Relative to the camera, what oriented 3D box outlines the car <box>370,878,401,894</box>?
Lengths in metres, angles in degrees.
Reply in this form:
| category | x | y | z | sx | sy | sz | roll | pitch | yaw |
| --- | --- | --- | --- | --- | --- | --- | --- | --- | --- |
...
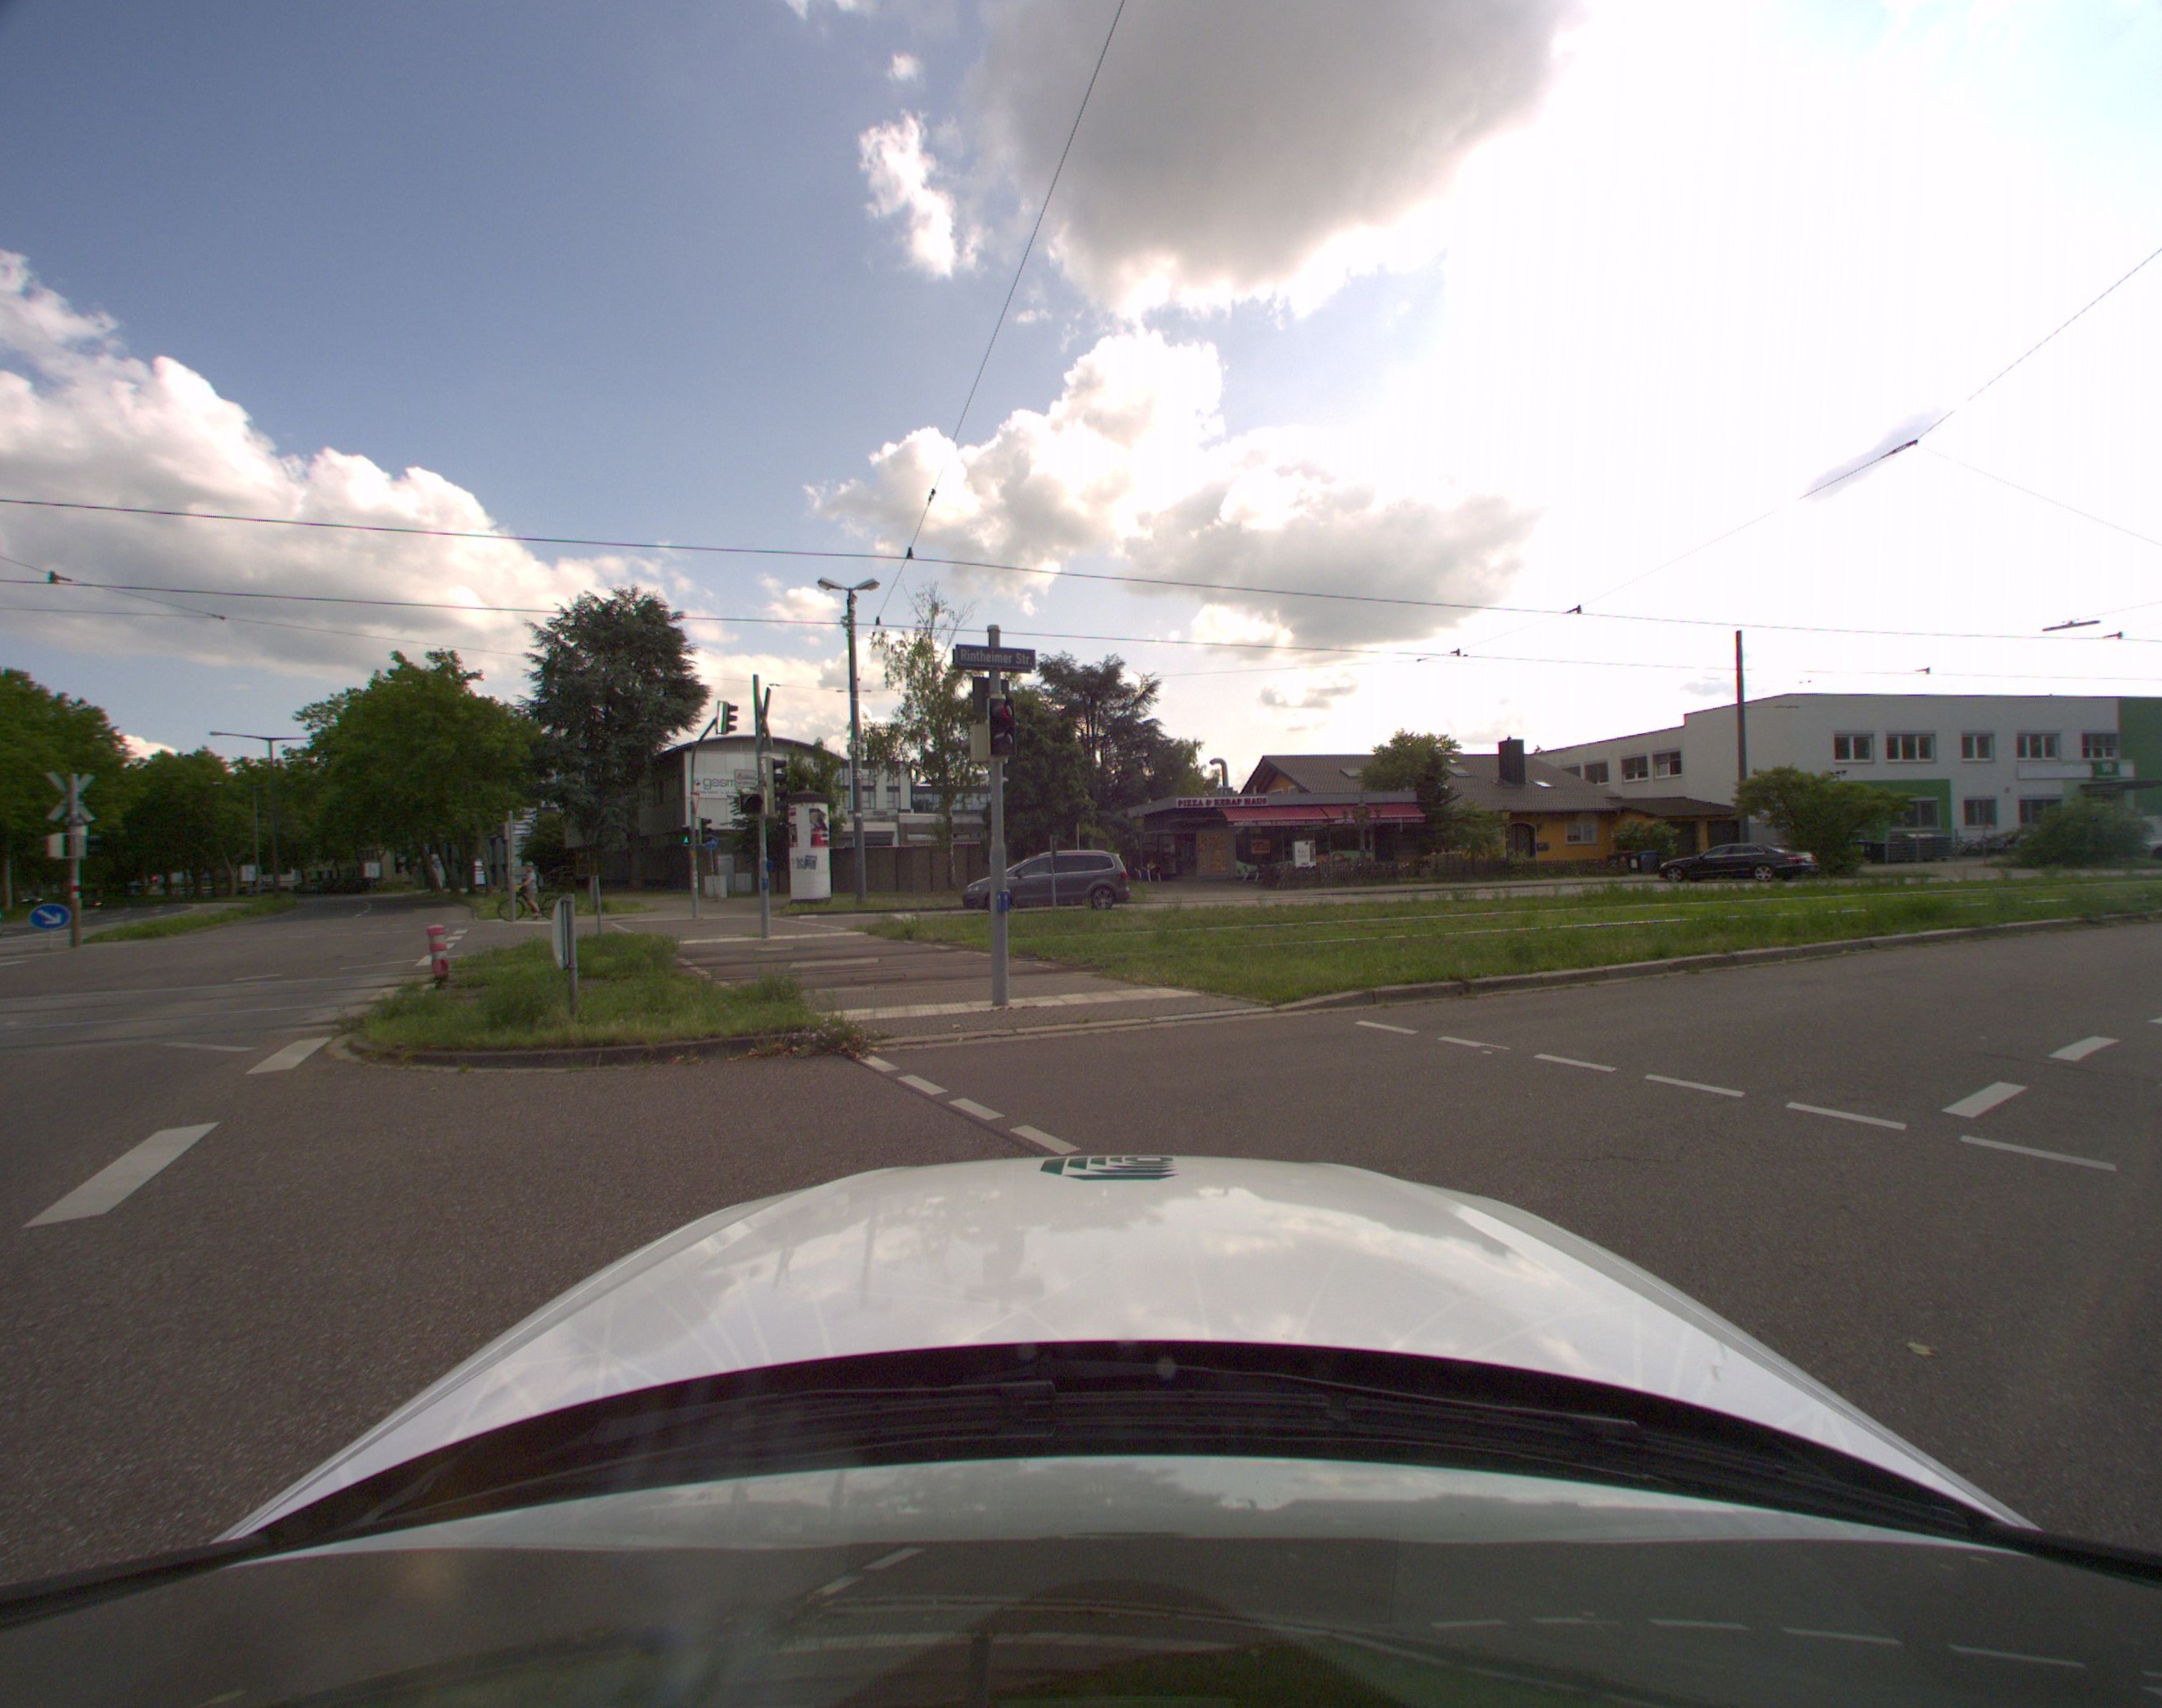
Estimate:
| category | x | y | z | sx | sy | sz | roll | pitch | yaw |
| --- | --- | --- | --- | --- | --- | --- | --- | --- | --- |
| car | -77.698 | 3.558 | 90.964 | 3.949 | 1.574 | 2.013 | 0 | 2 | 41 |

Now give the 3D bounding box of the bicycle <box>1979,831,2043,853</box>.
| category | x | y | z | sx | sy | sz | roll | pitch | yaw |
| --- | --- | --- | --- | --- | --- | --- | --- | --- | --- |
| bicycle | 51.532 | -0.648 | 45.150 | 0.756 | 1.166 | 2.348 | -2 | 0 | -4 |

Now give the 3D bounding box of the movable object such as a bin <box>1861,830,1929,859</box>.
| category | x | y | z | sx | sy | sz | roll | pitch | yaw |
| --- | --- | --- | --- | --- | --- | --- | --- | --- | --- |
| movable object such as a bin | 40.679 | -0.472 | 40.735 | 2.108 | 1.326 | 1.373 | -2 | 0 | -7 |

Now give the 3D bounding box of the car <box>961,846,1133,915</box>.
| category | x | y | z | sx | sy | sz | roll | pitch | yaw |
| --- | --- | --- | --- | --- | --- | --- | --- | --- | --- |
| car | -1.036 | 0.728 | 23.463 | 4.725 | 1.722 | 1.993 | -2 | 0 | -10 |

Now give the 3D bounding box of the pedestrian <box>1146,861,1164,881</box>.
| category | x | y | z | sx | sy | sz | roll | pitch | yaw |
| --- | --- | --- | --- | --- | --- | --- | --- | --- | --- |
| pedestrian | 3.568 | 0.800 | 39.246 | 0.724 | 0.929 | 0.775 | -1 | 1 | -5 |

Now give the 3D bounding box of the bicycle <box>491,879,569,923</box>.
| category | x | y | z | sx | sy | sz | roll | pitch | yaw |
| --- | --- | --- | --- | --- | --- | --- | --- | --- | --- |
| bicycle | -17.223 | 1.458 | 25.514 | 1.957 | 1.235 | 0.536 | -2 | 1 | -29 |

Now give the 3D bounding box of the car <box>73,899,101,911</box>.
| category | x | y | z | sx | sy | sz | roll | pitch | yaw |
| --- | --- | --- | --- | --- | --- | --- | --- | --- | --- |
| car | -104.360 | 5.358 | 85.493 | 3.660 | 1.192 | 1.650 | -2 | 0 | 35 |

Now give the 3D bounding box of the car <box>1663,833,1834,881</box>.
| category | x | y | z | sx | sy | sz | roll | pitch | yaw |
| --- | --- | --- | --- | --- | --- | --- | --- | --- | --- |
| car | 25.085 | 0.158 | 30.776 | 2.006 | 1.580 | 4.535 | -2 | -1 | -30 |

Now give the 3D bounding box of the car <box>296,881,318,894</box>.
| category | x | y | z | sx | sy | sz | roll | pitch | yaw |
| --- | --- | --- | --- | --- | --- | --- | --- | --- | --- |
| car | -113.737 | 4.915 | 119.648 | 3.949 | 1.574 | 2.013 | 0 | 2 | 41 |

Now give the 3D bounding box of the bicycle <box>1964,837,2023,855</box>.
| category | x | y | z | sx | sy | sz | roll | pitch | yaw |
| --- | --- | --- | --- | --- | --- | --- | --- | --- | --- |
| bicycle | 50.606 | -0.438 | 45.210 | 0.727 | 0.970 | 2.155 | -2 | 0 | -6 |

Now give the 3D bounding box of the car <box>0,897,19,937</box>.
| category | x | y | z | sx | sy | sz | roll | pitch | yaw |
| --- | --- | --- | --- | --- | --- | --- | --- | --- | --- |
| car | -38.546 | 2.233 | 27.820 | 1.840 | 1.364 | 4.089 | -2 | 0 | -39 |

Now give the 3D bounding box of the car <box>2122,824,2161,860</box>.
| category | x | y | z | sx | sy | sz | roll | pitch | yaw |
| --- | --- | --- | --- | --- | --- | --- | --- | --- | --- |
| car | 50.528 | -0.598 | 36.681 | 1.913 | 1.629 | 4.262 | -1 | -1 | -43 |

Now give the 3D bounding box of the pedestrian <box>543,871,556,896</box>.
| category | x | y | z | sx | sy | sz | roll | pitch | yaw |
| --- | --- | --- | --- | --- | --- | --- | --- | --- | --- |
| pedestrian | -34.425 | 1.880 | 52.702 | 0.625 | 1.569 | 0.553 | -2 | 2 | -38 |

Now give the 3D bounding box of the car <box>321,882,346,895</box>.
| category | x | y | z | sx | sy | sz | roll | pitch | yaw |
| --- | --- | --- | --- | --- | --- | --- | --- | --- | --- |
| car | -101.203 | 4.662 | 110.263 | 3.949 | 1.574 | 2.013 | 0 | 2 | 41 |

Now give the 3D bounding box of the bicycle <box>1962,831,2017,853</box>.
| category | x | y | z | sx | sy | sz | roll | pitch | yaw |
| --- | --- | --- | --- | --- | --- | --- | --- | --- | --- |
| bicycle | 48.376 | -0.621 | 43.377 | 0.735 | 1.081 | 1.790 | -2 | 0 | -12 |

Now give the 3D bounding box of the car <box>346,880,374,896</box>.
| category | x | y | z | sx | sy | sz | roll | pitch | yaw |
| --- | --- | --- | --- | --- | --- | --- | --- | --- | --- |
| car | -86.940 | 4.080 | 98.173 | 3.949 | 1.574 | 2.013 | 0 | 2 | 41 |

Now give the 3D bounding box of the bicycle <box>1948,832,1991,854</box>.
| category | x | y | z | sx | sy | sz | roll | pitch | yaw |
| --- | --- | --- | --- | --- | --- | --- | --- | --- | --- |
| bicycle | 49.087 | -0.579 | 44.998 | 0.700 | 1.166 | 1.624 | -2 | 0 | 7 |

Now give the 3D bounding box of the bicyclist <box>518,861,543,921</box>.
| category | x | y | z | sx | sy | sz | roll | pitch | yaw |
| --- | --- | --- | --- | --- | --- | --- | --- | --- | --- |
| bicyclist | -17.228 | 1.149 | 25.504 | 0.546 | 1.809 | 0.536 | -1 | 1 | -28 |

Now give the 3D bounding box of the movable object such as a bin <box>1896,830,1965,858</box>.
| category | x | y | z | sx | sy | sz | roll | pitch | yaw |
| --- | --- | --- | --- | --- | --- | --- | --- | --- | --- |
| movable object such as a bin | 42.835 | -0.511 | 41.072 | 2.122 | 1.326 | 1.373 | -2 | 0 | -7 |

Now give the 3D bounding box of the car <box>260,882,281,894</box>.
| category | x | y | z | sx | sy | sz | roll | pitch | yaw |
| --- | --- | --- | --- | --- | --- | --- | --- | --- | --- |
| car | -125.750 | 5.249 | 126.331 | 3.949 | 1.574 | 2.013 | 0 | 2 | 41 |

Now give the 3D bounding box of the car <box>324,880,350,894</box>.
| category | x | y | z | sx | sy | sz | roll | pitch | yaw |
| --- | --- | --- | --- | --- | --- | --- | --- | --- | --- |
| car | -93.908 | 4.163 | 102.782 | 3.949 | 1.574 | 2.013 | 0 | 2 | 41 |
